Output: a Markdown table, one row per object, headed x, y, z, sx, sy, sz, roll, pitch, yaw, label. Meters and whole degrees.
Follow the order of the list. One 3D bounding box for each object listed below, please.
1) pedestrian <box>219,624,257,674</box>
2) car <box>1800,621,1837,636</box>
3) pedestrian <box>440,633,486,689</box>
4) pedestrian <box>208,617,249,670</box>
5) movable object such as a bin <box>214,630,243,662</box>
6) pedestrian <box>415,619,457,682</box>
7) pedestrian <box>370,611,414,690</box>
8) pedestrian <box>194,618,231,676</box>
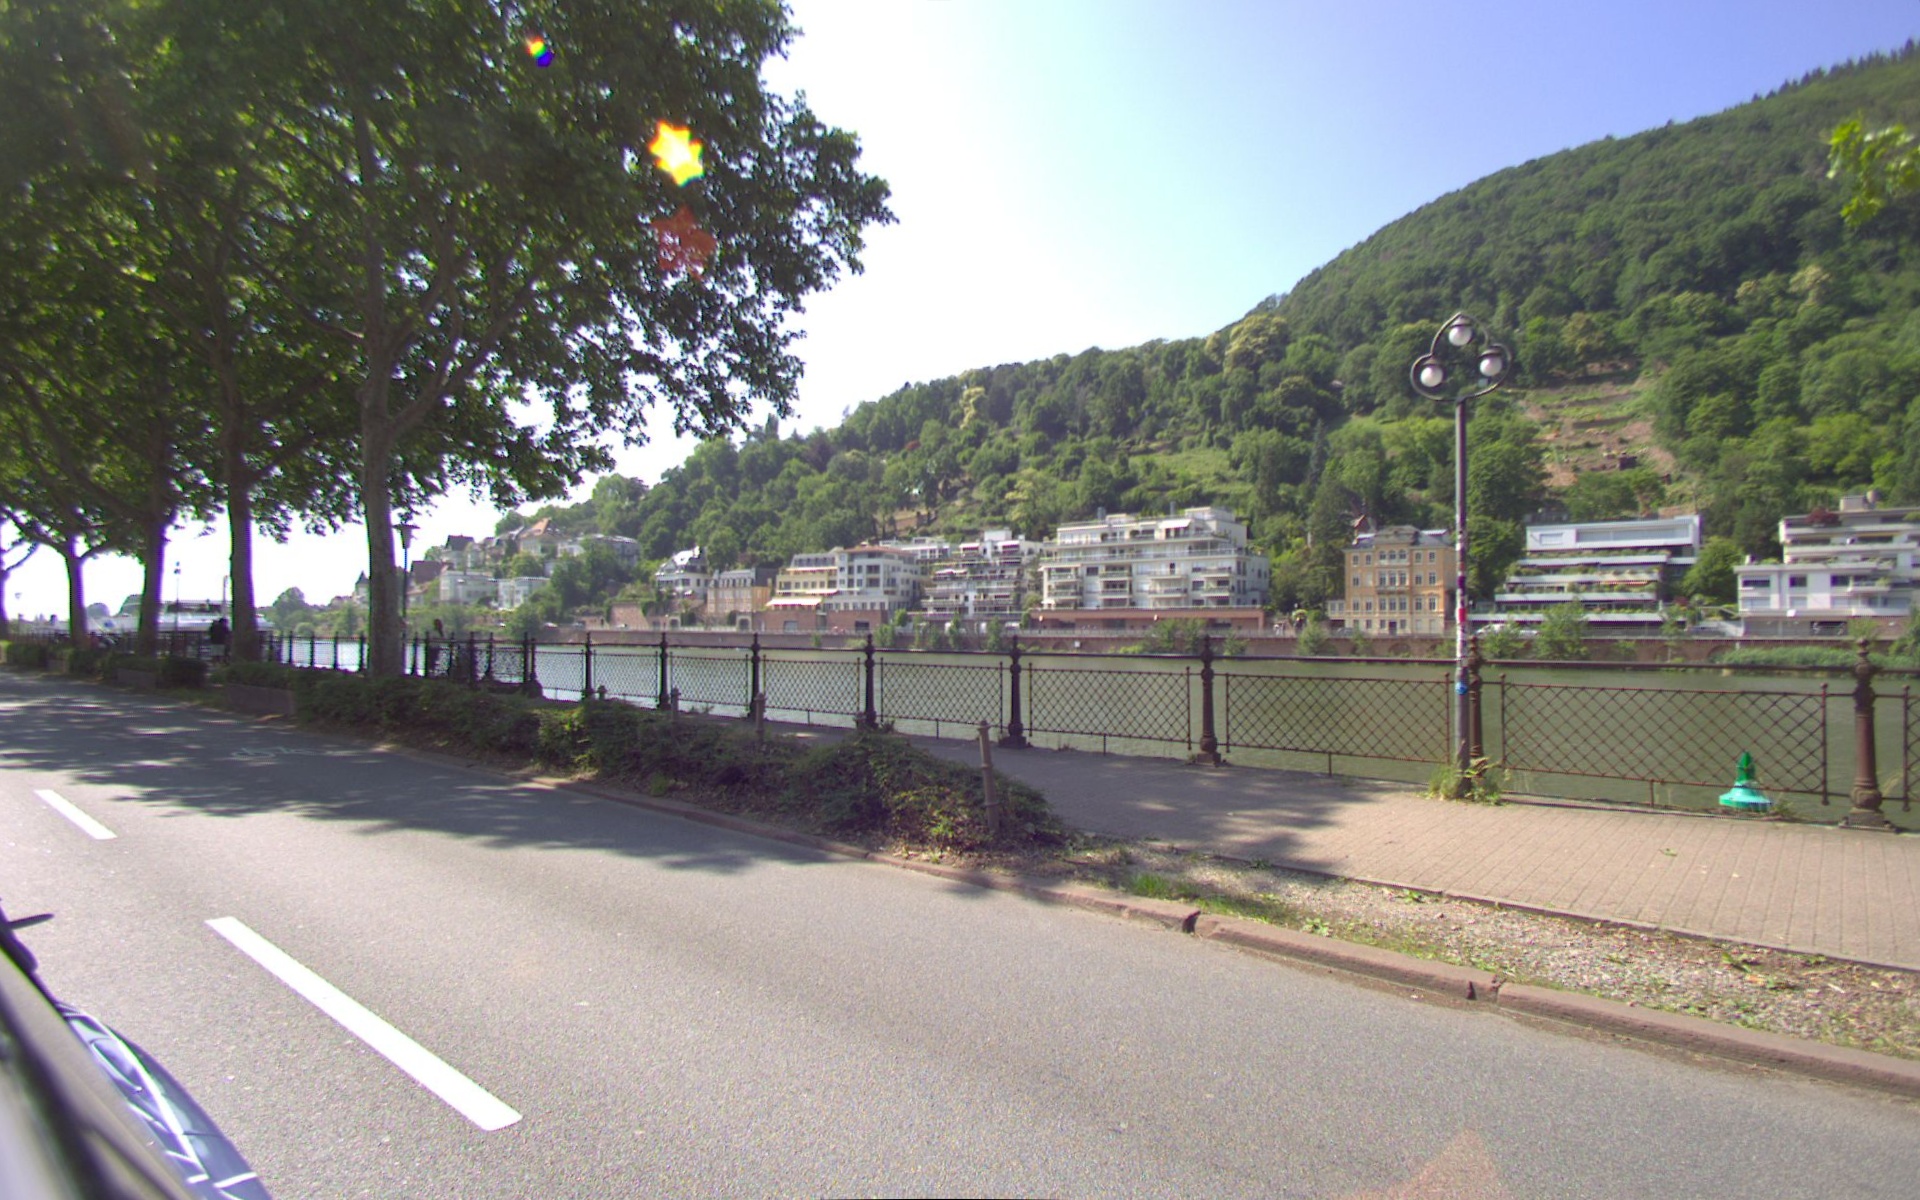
| x | y | z | sx | sy | sz | roll | pitch | yaw | label |
| --- | --- | --- | --- | --- | --- | --- | --- | --- | --- |
| -24.544 | 1.655 | 34.406 | 0.885 | 1.647 | 1.060 | 0 | 0 | -45 | pedestrian |
| 125.408 | 4.160 | 147.827 | 3.998 | 2.029 | 1.973 | -4 | -2 | 41 | car |
| -12.637 | 1.545 | 25.738 | 0.770 | 1.398 | 0.758 | -2 | -3 | 40 | pedestrian |
| -28.961 | 1.709 | 40.069 | 1.032 | 2.029 | 1.038 | -1 | 0 | -19 | pedestrian |
| -25.253 | 1.596 | 34.930 | 0.783 | 1.057 | 0.694 | -1 | 0 | 44 | movable object such as a bin |
| -15.013 | 1.445 | 29.004 | 0.829 | 1.771 | 0.767 | -2 | -4 | 40 | pedestrian |
| -14.108 | 1.242 | 25.135 | 0.756 | 1.915 | 0.771 | 3 | -4 | -42 | pedestrian |
| -24.876 | 1.557 | 33.688 | 0.928 | 1.863 | 0.796 | -1 | 0 | 41 | pedestrian |
